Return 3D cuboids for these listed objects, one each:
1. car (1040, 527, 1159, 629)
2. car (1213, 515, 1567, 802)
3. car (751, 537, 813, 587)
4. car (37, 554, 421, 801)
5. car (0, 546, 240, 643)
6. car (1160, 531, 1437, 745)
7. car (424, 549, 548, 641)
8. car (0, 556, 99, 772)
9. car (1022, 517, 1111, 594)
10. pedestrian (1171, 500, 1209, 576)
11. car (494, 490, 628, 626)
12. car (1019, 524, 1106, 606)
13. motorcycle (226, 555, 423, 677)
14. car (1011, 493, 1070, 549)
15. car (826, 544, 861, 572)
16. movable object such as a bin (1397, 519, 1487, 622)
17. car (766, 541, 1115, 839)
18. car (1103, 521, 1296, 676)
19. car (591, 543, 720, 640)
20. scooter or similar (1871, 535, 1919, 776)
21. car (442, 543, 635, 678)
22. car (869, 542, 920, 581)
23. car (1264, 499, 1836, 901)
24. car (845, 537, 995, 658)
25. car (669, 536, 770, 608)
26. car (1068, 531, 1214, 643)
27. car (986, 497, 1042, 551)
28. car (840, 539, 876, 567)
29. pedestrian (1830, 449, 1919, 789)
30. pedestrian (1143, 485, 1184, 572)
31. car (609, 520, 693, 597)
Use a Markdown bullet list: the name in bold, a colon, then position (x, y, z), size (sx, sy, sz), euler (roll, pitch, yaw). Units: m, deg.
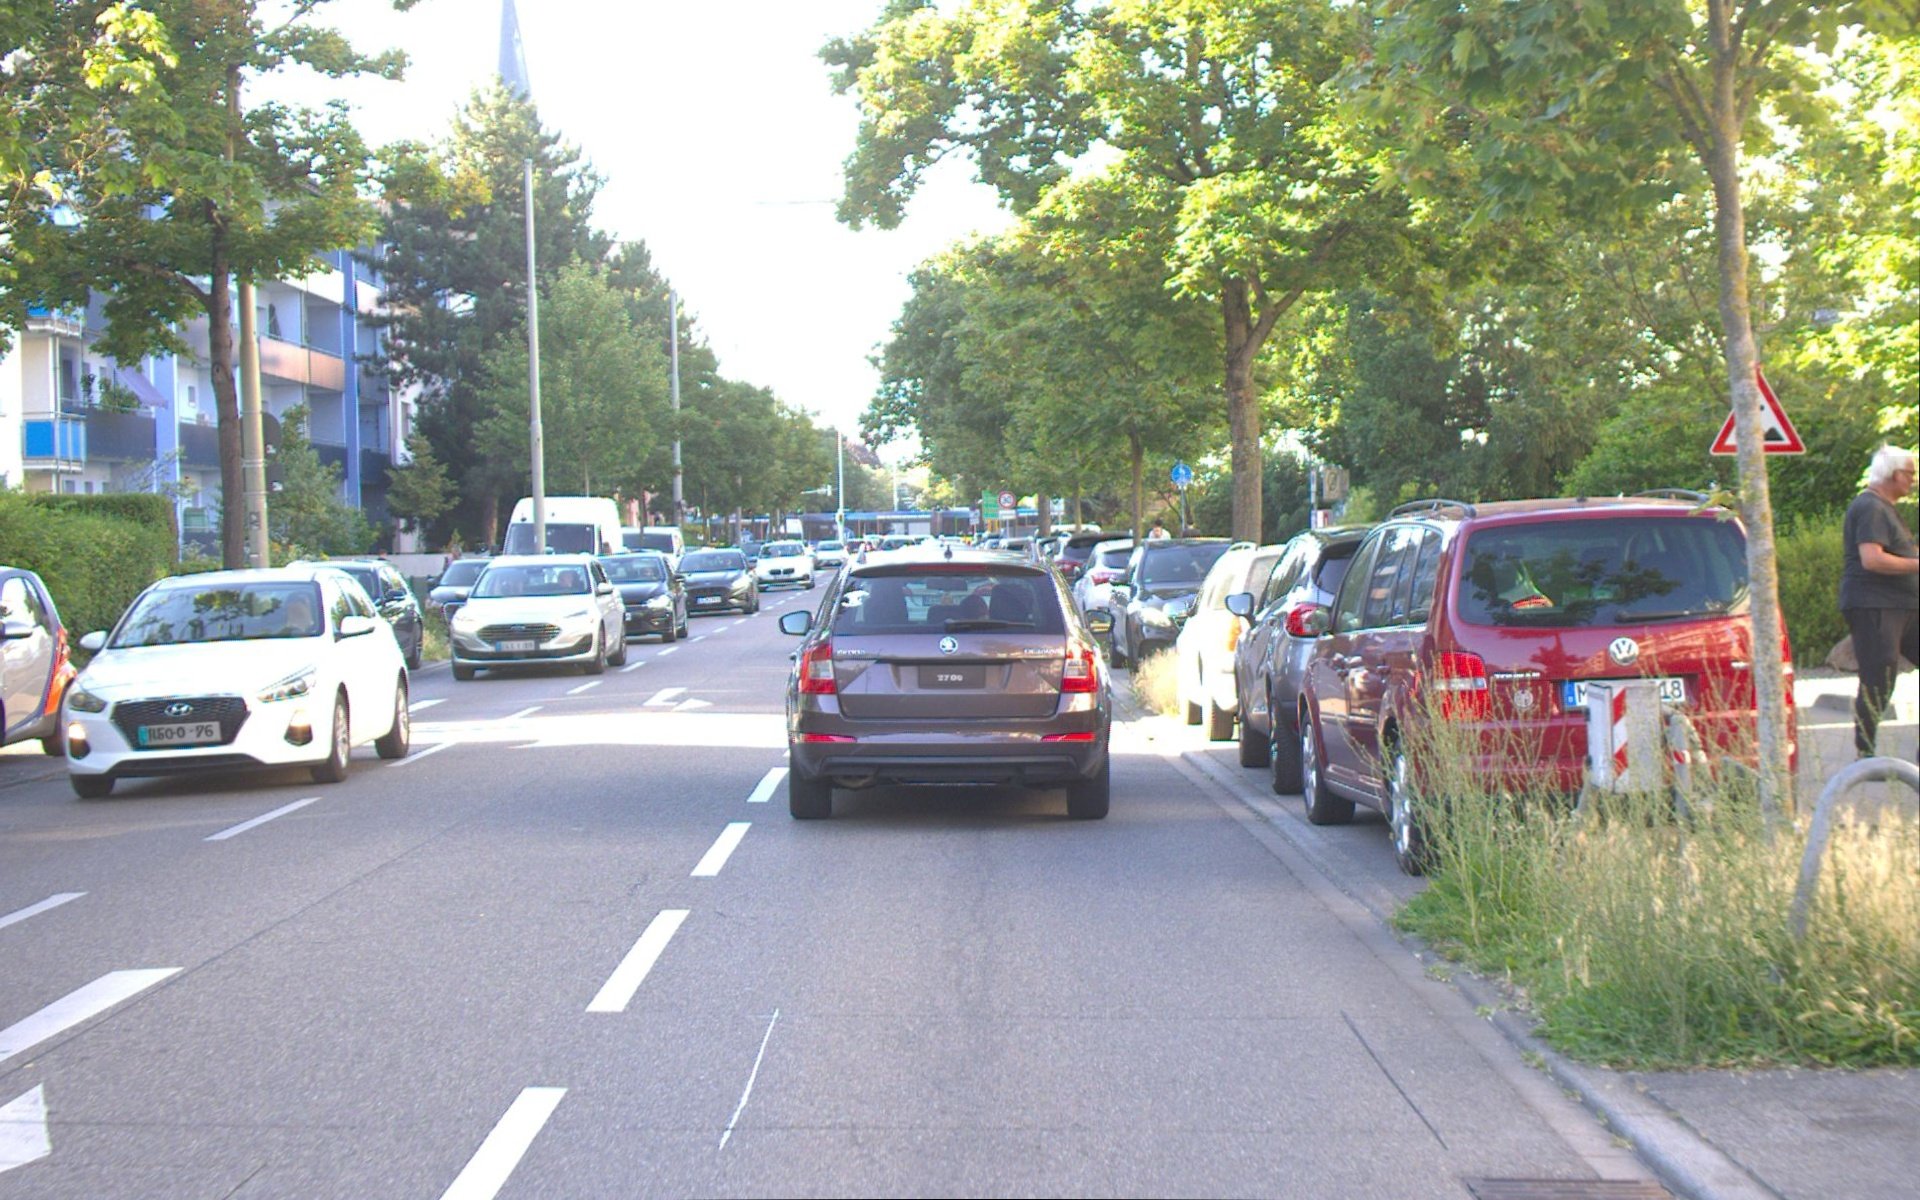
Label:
- **car**: position (2.268, -0.391, 56.808), size (1.718, 1.595, 4.096), euler (-1, 1, -1)
- **car**: position (2.576, 0.294, 21.406), size (1.636, 1.563, 4.000), euler (-2, 1, 0)
- **car**: position (-5.666, -1.220, 109.134), size (1.879, 1.537, 4.268), euler (-1, 1, -3)
- **car**: position (-4.966, 0.466, 23.908), size (1.815, 1.441, 4.111), euler (-3, 1, -2)
- **car**: position (-13.547, -0.101, 54.153), size (3.987, 1.408, 1.916), euler (1, 1, 0)
- **car**: position (2.574, 0.235, 27.060), size (1.636, 1.485, 4.416), euler (-2, 1, -1)
- **car**: position (-8.023, -0.106, 58.423), size (1.612, 1.468, 3.813), euler (1, 1, -1)
- **car**: position (-7.935, 0.481, 26.976), size (1.499, 1.611, 2.861), euler (-1, 1, 3)
- **car**: position (2.552, -1.098, 83.199), size (1.800, 1.802, 4.424), euler (0, 1, -3)
- **pedestrian**: position (5.708, -1.533, 85.324), size (0.799, 1.854, 0.950), euler (-2, 1, 11)
- **car**: position (-8.028, -0.877, 69.780), size (1.993, 2.607, 7.106), euler (0, 1, -1)
- **car**: position (2.191, -0.767, 74.018), size (1.754, 1.657, 4.252), euler (-2, 1, 1)
- **motorcycle**: position (-7.393, 0.191, 40.017), size (2.021, 1.384, 0.991), euler (1, 0, -32)
- **car**: position (2.474, -2.417, 106.080), size (1.754, 1.680, 4.252), euler (1, 1, 1)
- **car**: position (-6.406, -2.330, 189.662), size (1.781, 1.489, 3.971), euler (-1, 1, 0)
- **movable object such as a bin**: position (7.395, -0.461, 52.716), size (1.267, 1.487, 1.139), euler (-3, 1, 10)
- **car**: position (-0.054, 0.421, 19.392), size (1.754, 1.487, 4.000), euler (1, 1, 1)
- **car**: position (2.651, -0.064, 39.019), size (1.874, 1.575, 4.820), euler (-2, 1, 1)
- **car**: position (-4.837, -0.169, 55.056), size (1.700, 1.399, 4.028), euler (-3, 1, -1)
- **scooter or similar**: position (5.505, 0.294, 19.093), size (0.746, 1.313, 0.721), euler (-1, 1, 7)
- **car**: position (-5.188, 0.084, 42.829), size (1.832, 1.465, 4.452), euler (-4, 1, -1)
- **car**: position (-2.525, -1.488, 132.042), size (1.780, 1.475, 3.971), euler (0, 1, -3)
- **car**: position (2.660, 0.371, 16.596), size (1.721, 1.650, 4.598), euler (-1, 1, -3)
- **car**: position (-0.557, -0.030, 46.792), size (1.892, 1.501, 3.790), euler (3, 0, -1)
- **car**: position (-5.231, -0.627, 75.113), size (1.700, 1.465, 4.294), euler (-2, 1, 2)
- **car**: position (2.549, -0.222, 49.211), size (1.718, 1.489, 4.394), euler (-1, 1, -1)
- **car**: position (1.932, -2.700, 122.461), size (1.916, 1.854, 5.633), euler (-1, 1, 1)
- **car**: position (-6.429, -2.973, 216.746), size (1.993, 1.744, 4.001), euler (-1, 1, -6)
- **pedestrian**: position (5.192, 0.096, 19.123), size (0.548, 1.843, 0.764), euler (-1, 1, 7)
- **pedestrian**: position (4.009, -1.399, 67.761), size (0.788, 1.694, 0.807), euler (0, 1, 4)
- **car**: position (-8.326, -1.145, 92.935), size (1.868, 2.024, 5.301), euler (0, 1, -1)
